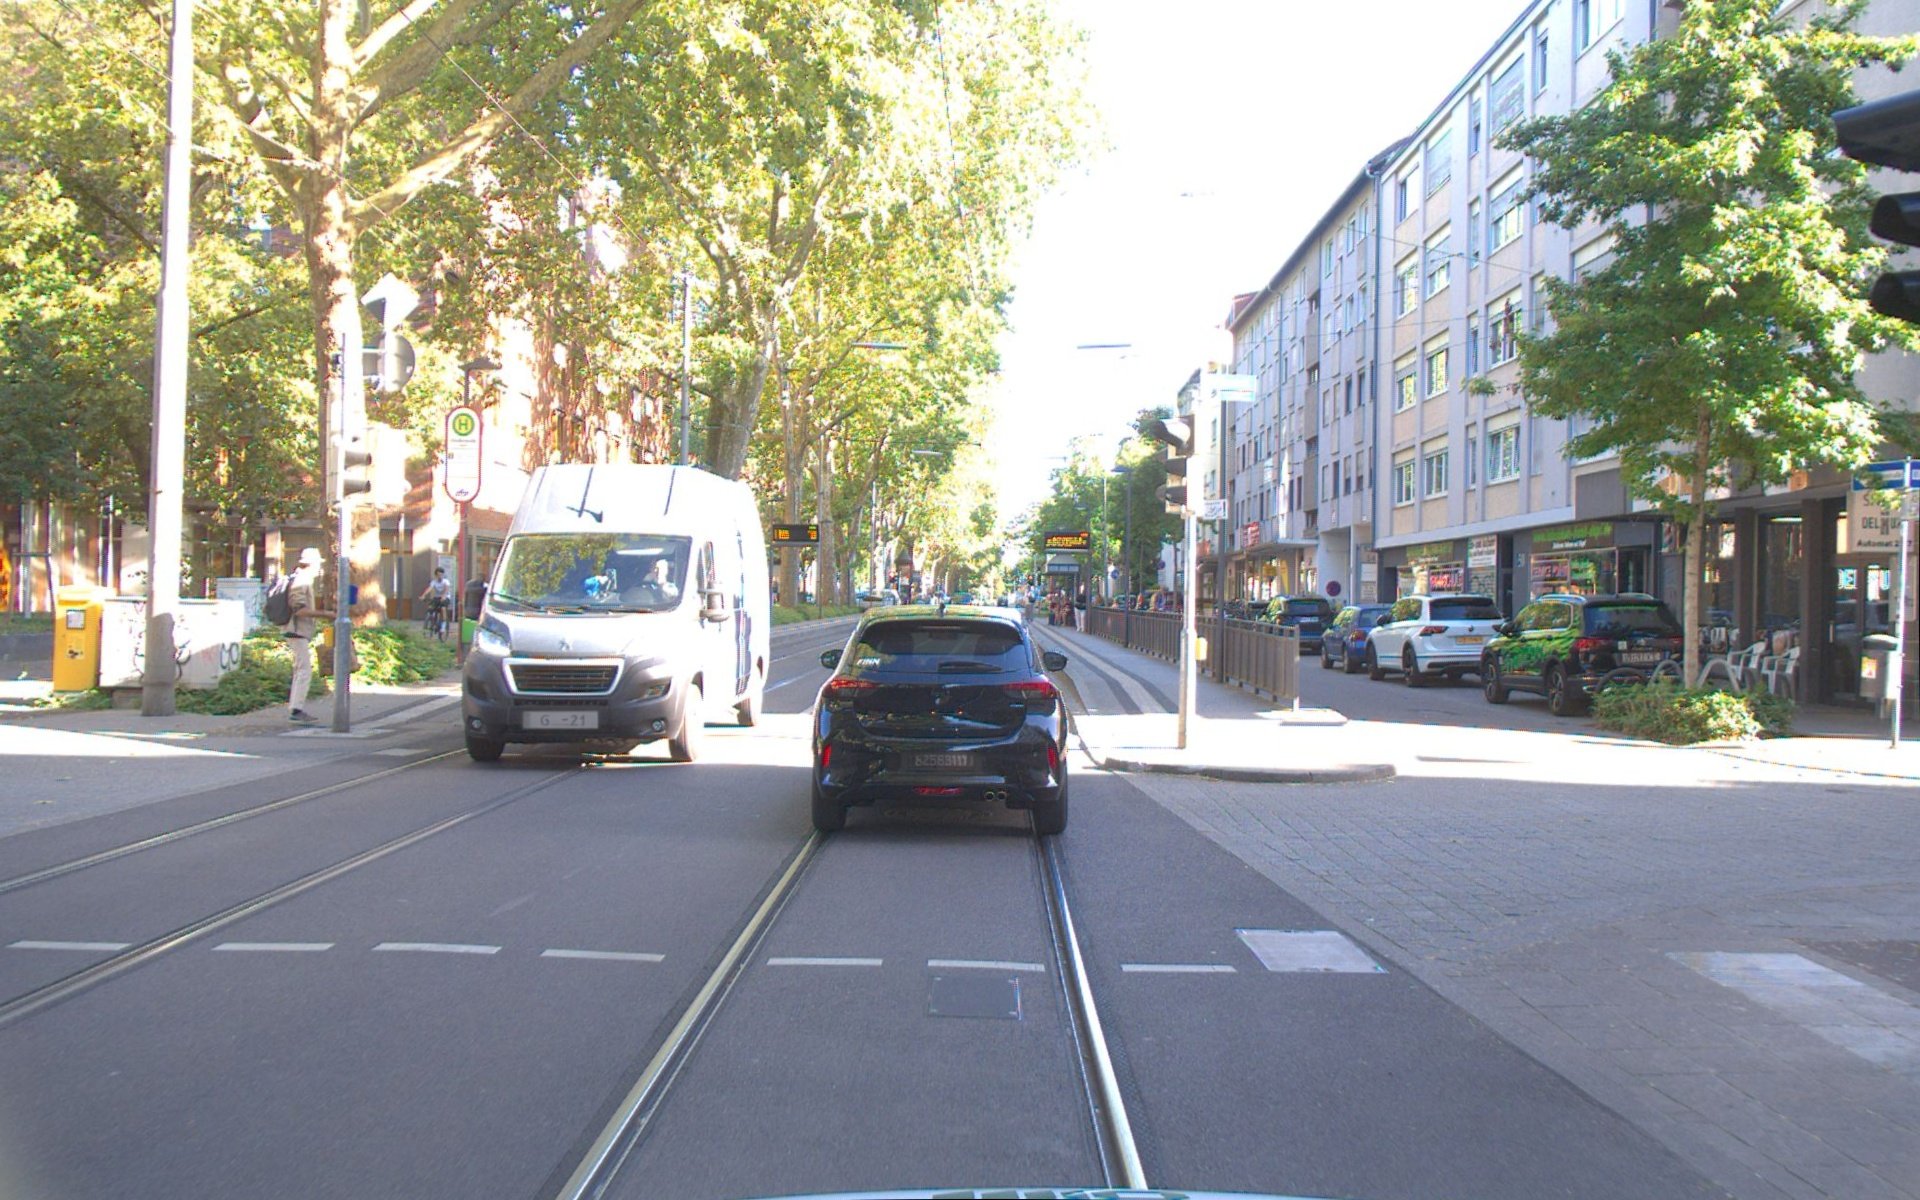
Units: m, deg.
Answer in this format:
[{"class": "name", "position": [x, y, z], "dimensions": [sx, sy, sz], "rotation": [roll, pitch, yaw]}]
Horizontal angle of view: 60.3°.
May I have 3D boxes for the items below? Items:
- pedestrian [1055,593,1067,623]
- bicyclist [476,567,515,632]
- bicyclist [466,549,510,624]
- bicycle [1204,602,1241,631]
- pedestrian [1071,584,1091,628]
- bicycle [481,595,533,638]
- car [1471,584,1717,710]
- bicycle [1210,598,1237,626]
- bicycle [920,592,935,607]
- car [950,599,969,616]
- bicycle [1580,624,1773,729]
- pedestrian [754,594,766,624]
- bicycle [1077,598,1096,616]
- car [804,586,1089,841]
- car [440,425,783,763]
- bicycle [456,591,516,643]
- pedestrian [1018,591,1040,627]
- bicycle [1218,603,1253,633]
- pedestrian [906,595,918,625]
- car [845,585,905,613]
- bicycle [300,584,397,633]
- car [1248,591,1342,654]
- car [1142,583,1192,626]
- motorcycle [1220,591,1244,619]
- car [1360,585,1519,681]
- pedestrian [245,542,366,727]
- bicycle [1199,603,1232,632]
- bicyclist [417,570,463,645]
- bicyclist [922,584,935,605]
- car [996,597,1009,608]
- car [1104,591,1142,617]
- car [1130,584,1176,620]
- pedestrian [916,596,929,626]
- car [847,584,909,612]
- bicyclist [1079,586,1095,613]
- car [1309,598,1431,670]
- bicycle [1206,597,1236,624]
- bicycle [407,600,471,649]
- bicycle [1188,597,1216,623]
[{"class": "pedestrian", "position": [4.470, 0.362, 73.219], "dimensions": [0.492, 1.327, 0.428], "rotation": [2, -1, -3]}, {"class": "bicyclist", "position": [-12.903, -0.012, 45.968], "dimensions": [0.759, 1.780, 0.997], "rotation": [2, -1, -1]}, {"class": "bicyclist", "position": [-11.559, -0.325, 40.563], "dimensions": [0.766, 1.794, 0.951], "rotation": [2, -1, -2]}, {"class": "bicycle", "position": [11.038, 0.680, 69.699], "dimensions": [0.600, 1.156, 2.914], "rotation": [2, 0, -10]}, {"class": "pedestrian", "position": [4.464, 0.213, 61.136], "dimensions": [0.618, 1.603, 0.871], "rotation": [3, 0, 1]}, {"class": "bicycle", "position": [-12.608, 0.453, 46.085], "dimensions": [0.766, 1.130, 2.595], "rotation": [2, 0, -2]}, {"class": "car", "position": [9.077, 0.641, 24.120], "dimensions": [1.952, 1.644, 4.445], "rotation": [1, 0, 1]}, {"class": "bicycle", "position": [11.343, 0.513, 71.241], "dimensions": [0.402, 1.156, 2.199], "rotation": [2, 0, -10]}, {"class": "bicycle", "position": [-2.786, -0.058, 141.602], "dimensions": [0.935, 1.262, 2.979], "rotation": [2, 0, 4]}, {"class": "car", "position": [-0.049, 0.698, 154.083], "dimensions": [1.710, 1.571, 3.999], "rotation": [2, 0, -1]}, {"class": "bicycle", "position": [8.927, 0.939, 20.677], "dimensions": [2.081, 1.208, 0.681], "rotation": [2, -1, 9]}, {"class": "pedestrian", "position": [-13.645, 0.592, 112.662], "dimensions": [0.658, 1.984, 0.498], "rotation": [3, 0, -2]}, {"class": "bicycle", "position": [8.411, 0.437, 109.885], "dimensions": [0.844, 1.156, 2.393], "rotation": [2, 0, -5]}, {"class": "car", "position": [-0.111, 0.701, 11.916], "dimensions": [1.724, 1.534, 3.682], "rotation": [1, 0, -1]}, {"class": "car", "position": [-3.203, -0.032, 16.699], "dimensions": [2.070, 2.786, 6.115], "rotation": [0, 0, 1]}, {"class": "bicycle", "position": [-11.595, 0.405, 40.551], "dimensions": [0.766, 1.212, 2.595], "rotation": [2, 0, -2]}, {"class": "pedestrian", "position": [3.328, 0.431, 79.873], "dimensions": [0.737, 1.739, 0.760], "rotation": [1, -1, 36]}, {"class": "bicycle", "position": [10.956, 0.716, 65.845], "dimensions": [0.610, 1.156, 2.433], "rotation": [2, 0, -10]}, {"class": "pedestrian", "position": [-3.358, 0.707, 115.368], "dimensions": [0.661, 2.048, 0.702], "rotation": [3, 0, 7]}, {"class": "car", "position": [-6.345, -0.072, 123.013], "dimensions": [4.300, 1.884, 1.997], "rotation": [2, 0, -6]}, {"class": "bicycle", "position": [-16.213, 0.215, 43.875], "dimensions": [2.292, 1.186, 0.682], "rotation": [2, -1, 1]}, {"class": "car", "position": [9.504, 0.621, 47.225], "dimensions": [1.819, 1.644, 4.398], "rotation": [2, 0, 1]}, {"class": "car", "position": [10.174, 0.235, 81.454], "dimensions": [1.953, 1.986, 4.000], "rotation": [2, 0, 0]}, {"class": "motorcycle", "position": [13.306, 0.249, 81.010], "dimensions": [0.873, 1.302, 2.043], "rotation": [2, 0, 1]}, {"class": "car", "position": [8.942, 0.589, 31.227], "dimensions": [1.762, 1.634, 4.415], "rotation": [2, 0, 1]}, {"class": "pedestrian", "position": [-6.877, 0.340, 17.422], "dimensions": [0.905, 1.867, 0.920], "rotation": [2, 2, -3]}, {"class": "bicycle", "position": [10.539, 0.711, 68.290], "dimensions": [0.591, 1.156, 2.429], "rotation": [2, 0, -10]}, {"class": "bicyclist", "position": [-12.721, 0.189, 40.487], "dimensions": [0.759, 1.780, 0.997], "rotation": [2, -1, -1]}, {"class": "bicyclist", "position": [-2.703, -0.453, 142.504], "dimensions": [0.921, 1.732, 1.153], "rotation": [2, -1, 4]}, {"class": "car", "position": [6.257, 0.415, 243.025], "dimensions": [1.710, 1.571, 3.999], "rotation": [2, 0, -1]}, {"class": "car", "position": [9.891, 0.256, 100.493], "dimensions": [1.952, 1.512, 4.000], "rotation": [2, 0, 1]}, {"class": "car", "position": [10.260, 0.120, 88.144], "dimensions": [1.953, 1.829, 4.000], "rotation": [2, 0, 0]}, {"class": "pedestrian", "position": [-2.616, 0.730, 115.265], "dimensions": [0.661, 2.048, 0.702], "rotation": [3, 0, 13]}, {"class": "car", "position": [-5.513, -0.131, 110.898], "dimensions": [4.035, 1.730, 1.881], "rotation": [2, 0, -6]}, {"class": "bicyclist", "position": [8.423, -0.048, 109.920], "dimensions": [0.844, 1.790, 1.052], "rotation": [2, -1, -5]}, {"class": "car", "position": [9.041, 0.721, 36.806], "dimensions": [1.708, 1.465, 4.247], "rotation": [2, 0, 1]}, {"class": "bicycle", "position": [11.483, 0.456, 72.897], "dimensions": [0.586, 1.156, 2.199], "rotation": [2, 0, -10]}, {"class": "bicycle", "position": [-12.739, 0.588, 40.539], "dimensions": [0.766, 1.130, 2.595], "rotation": [2, 0, -2]}, {"class": "bicycle", "position": [10.807, 0.439, 73.918], "dimensions": [0.586, 1.156, 2.199], "rotation": [2, 0, -10]}]
